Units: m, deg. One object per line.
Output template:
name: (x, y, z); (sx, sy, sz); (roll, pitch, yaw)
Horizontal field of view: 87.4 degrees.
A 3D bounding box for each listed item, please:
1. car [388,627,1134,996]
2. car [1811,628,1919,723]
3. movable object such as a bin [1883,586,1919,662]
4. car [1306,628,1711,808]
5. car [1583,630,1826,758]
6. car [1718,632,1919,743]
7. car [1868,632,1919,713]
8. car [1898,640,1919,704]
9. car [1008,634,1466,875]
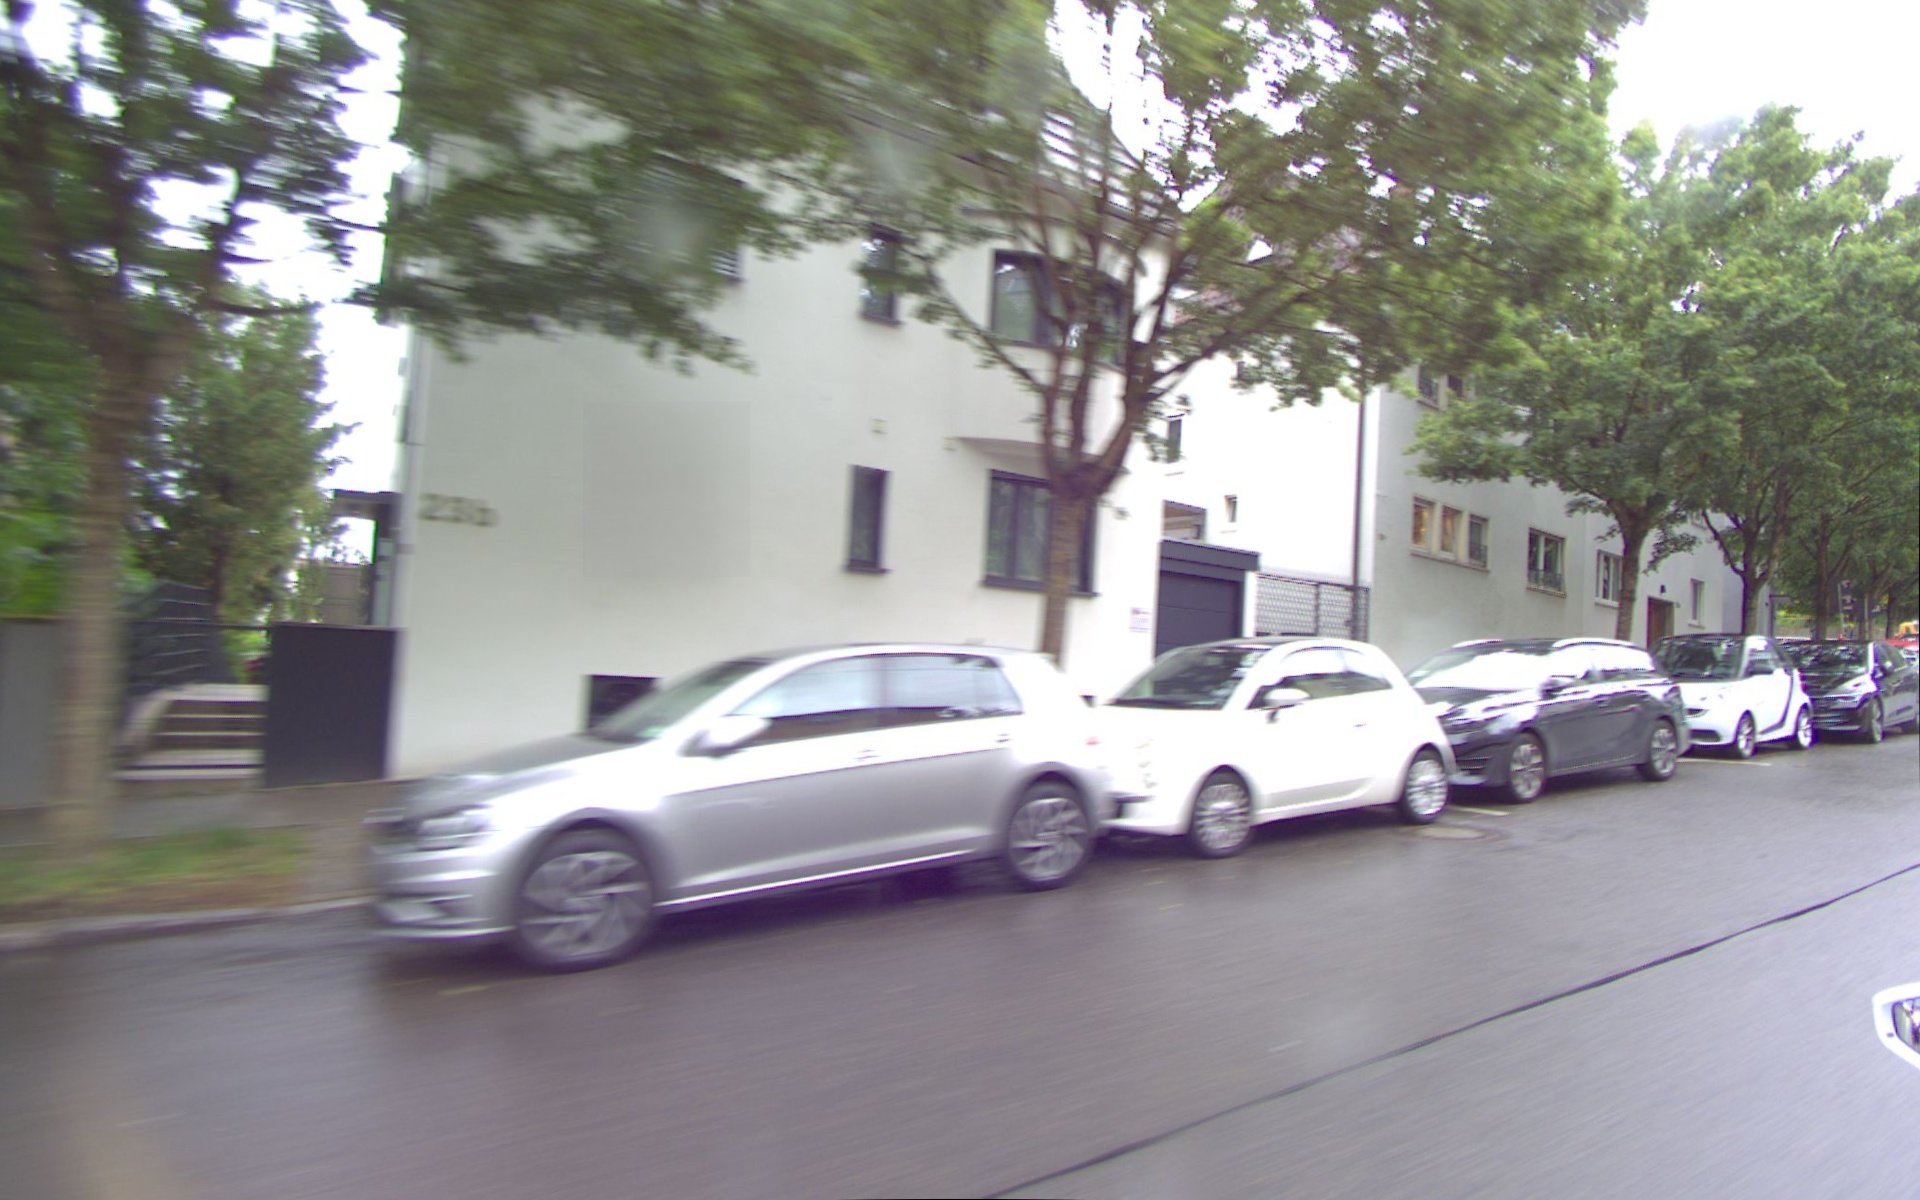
car: (-1.020, 0.986, 5.834); (3.928, 1.489, 1.610); (2, -5, -32)
car: (17.088, 1.392, 18.620); (1.617, 1.585, 3.824); (-5, -6, 45)
movable object such as a bin: (52.267, 1.289, 52.697); (2.772, 4.068, 7.329); (0, -1, 18)
car: (5.733, 1.135, 10.353); (4.425, 1.507, 1.656); (2, -6, -32)
car: (10.109, 1.239, 13.600); (3.348, 1.530, 1.547); (2, -5, -33)
car: (13.437, 1.332, 15.486); (4.057, 1.507, 1.546); (3, -6, -35)
car: (21.342, 1.512, 21.834); (4.539, 1.629, 1.669); (1, -6, -40)
car: (25.042, 1.733, 25.141); (4.280, 1.528, 1.669); (1, -4, -40)
car: (2.247, 1.072, 7.974); (3.431, 1.507, 1.566); (1, -5, -32)
